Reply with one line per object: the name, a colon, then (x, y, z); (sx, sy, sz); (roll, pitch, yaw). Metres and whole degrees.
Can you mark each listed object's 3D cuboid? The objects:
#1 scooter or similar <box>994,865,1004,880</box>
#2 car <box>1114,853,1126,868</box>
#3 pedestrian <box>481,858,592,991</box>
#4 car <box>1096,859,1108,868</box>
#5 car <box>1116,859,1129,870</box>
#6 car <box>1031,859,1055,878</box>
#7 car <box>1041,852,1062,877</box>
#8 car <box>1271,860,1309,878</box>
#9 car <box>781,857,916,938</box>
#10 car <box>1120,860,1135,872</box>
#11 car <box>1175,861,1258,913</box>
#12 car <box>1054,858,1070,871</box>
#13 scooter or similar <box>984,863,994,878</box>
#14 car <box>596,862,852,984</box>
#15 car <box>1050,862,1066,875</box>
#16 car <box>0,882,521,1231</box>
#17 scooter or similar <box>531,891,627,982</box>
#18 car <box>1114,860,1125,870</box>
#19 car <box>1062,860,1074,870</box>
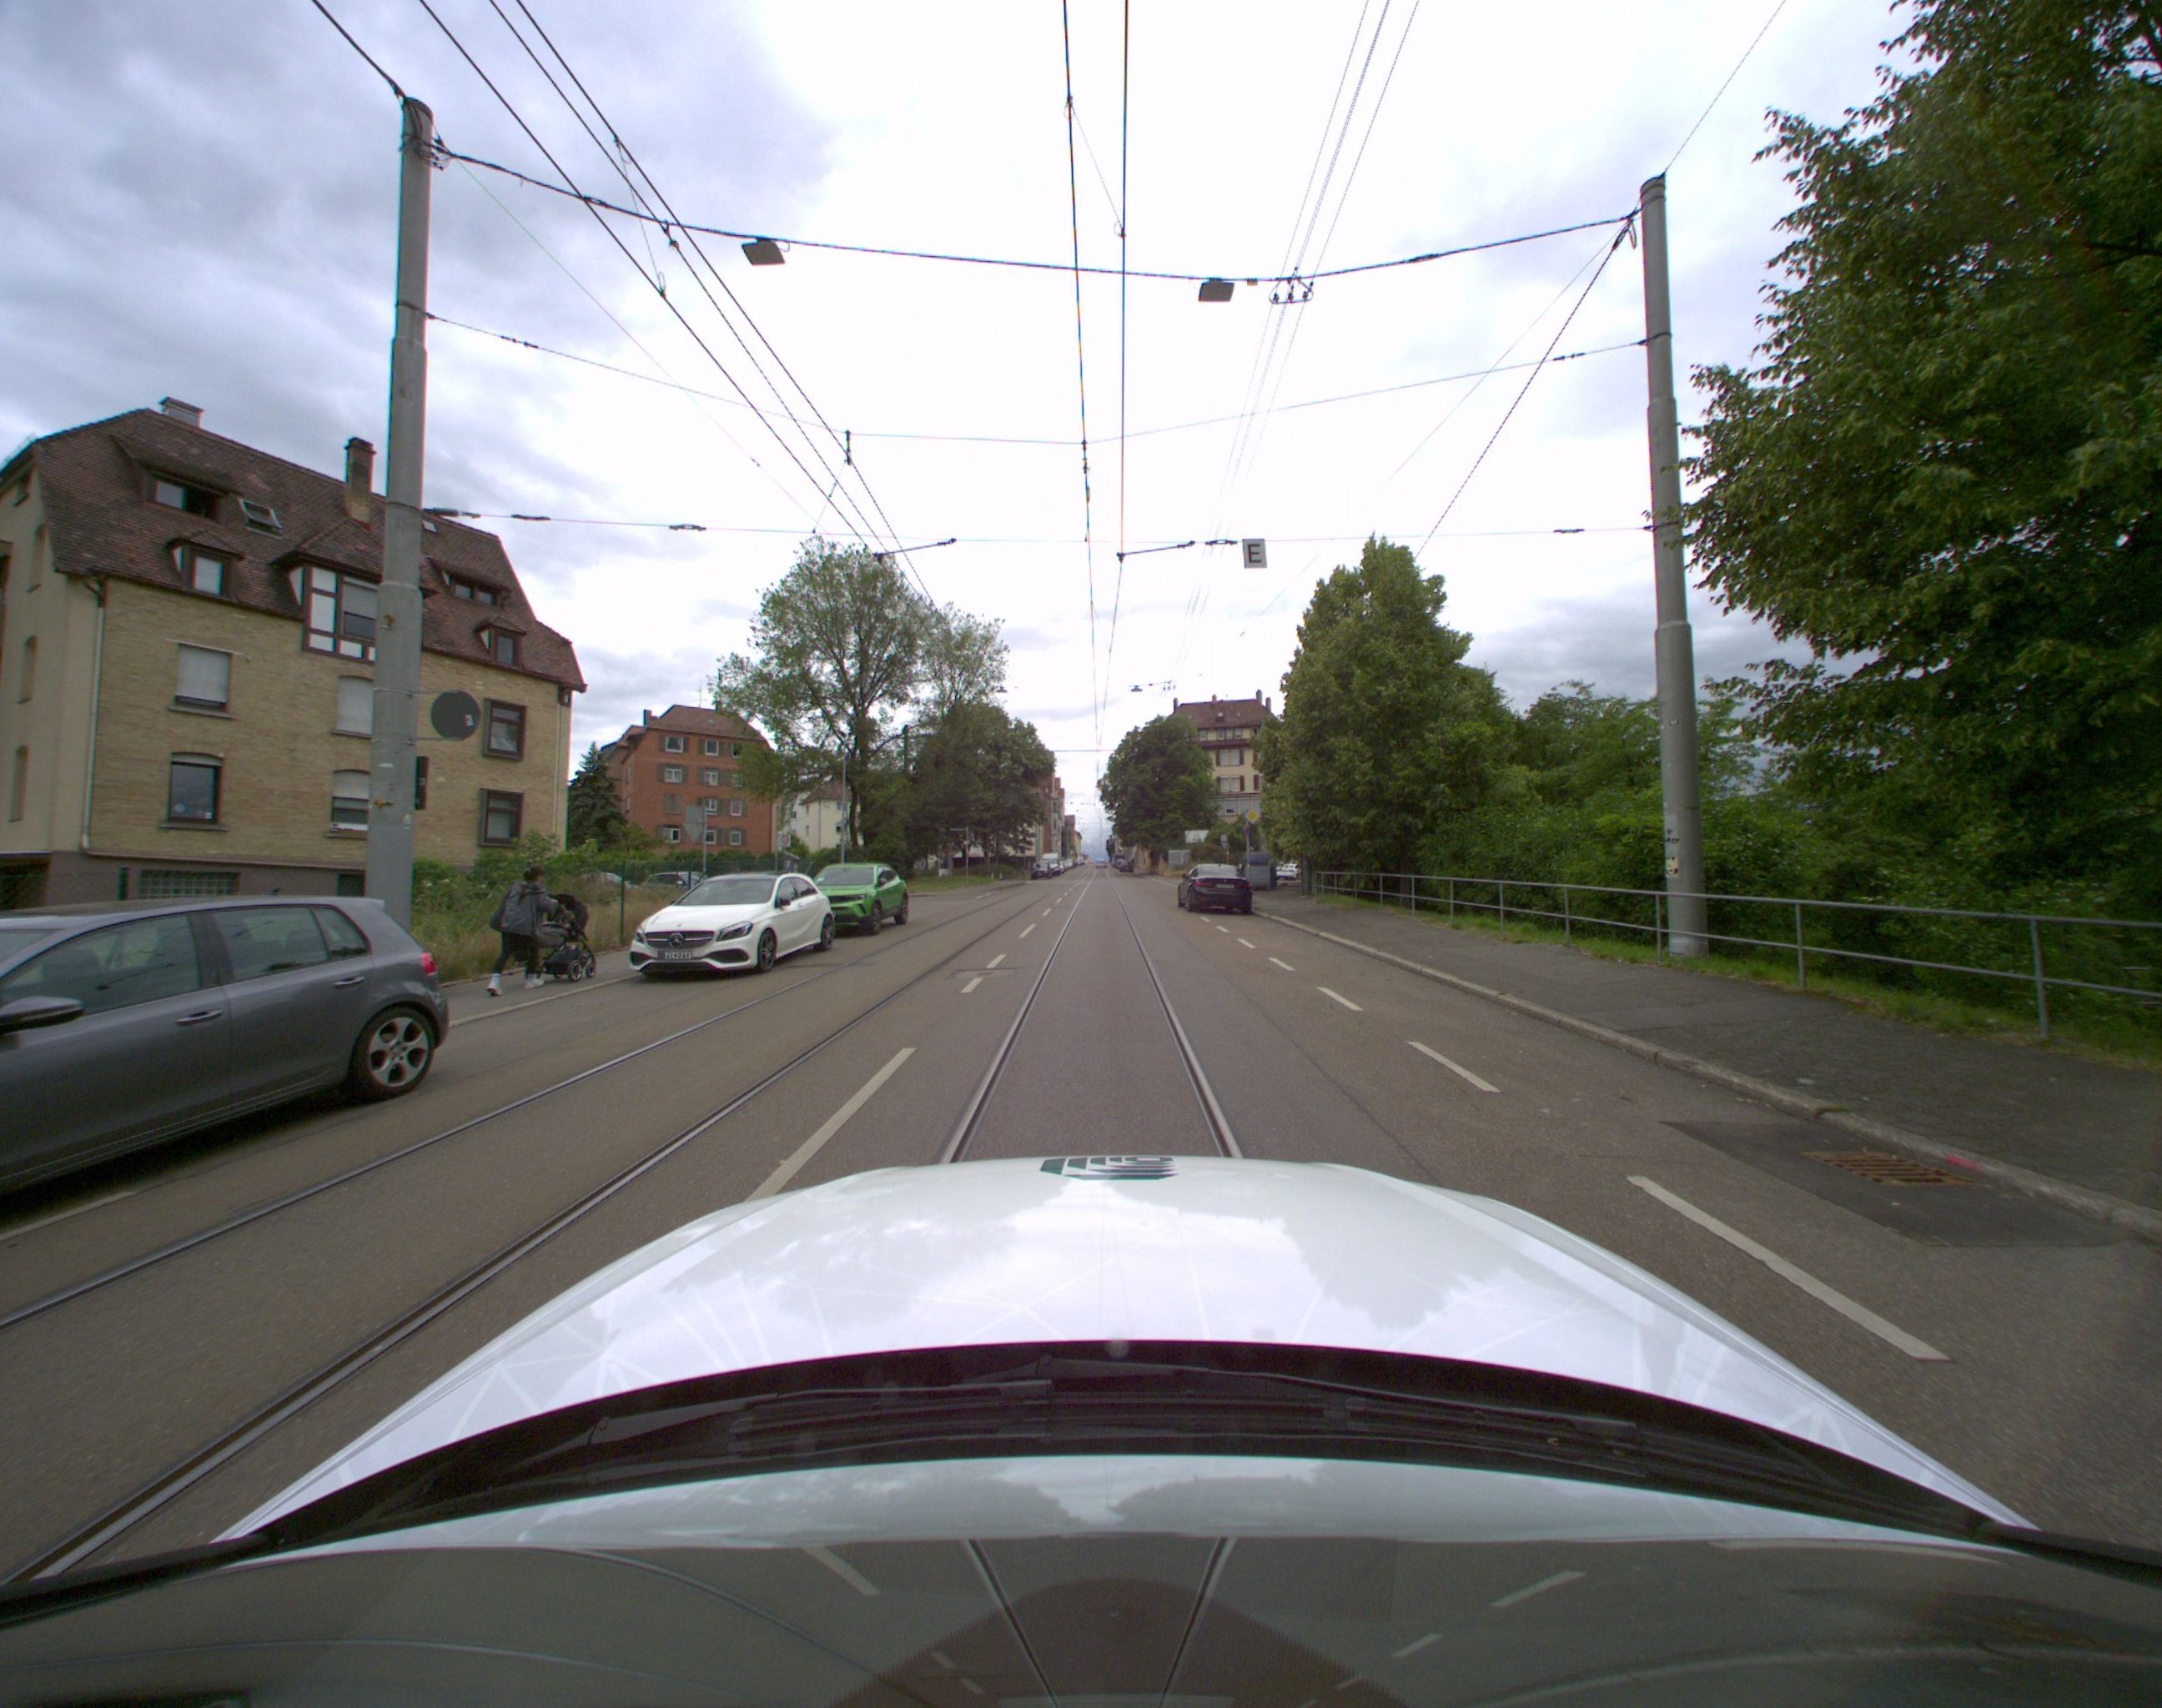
scooter or similar: (-7.455, 1.656, 74.330); (0.688, 1.339, 1.640); (0, -1, 2)
car: (7.023, 1.254, 146.784); (1.986, 2.574, 4.706); (-1, -1, 2)
pedestrian: (-7.009, 0.879, 10.528); (0.803, 1.629, 0.915); (0, -2, -2)
car: (3.710, 1.628, 142.496); (1.986, 1.499, 4.312); (0, -1, 1)
car: (6.514, 1.640, 129.288); (1.986, 1.717, 4.001); (-1, -1, 2)
car: (-3.681, 1.438, 79.201); (1.985, 1.808, 4.002); (0, -1, 3)
car: (-3.385, 1.253, 93.699); (2.224, 2.764, 5.797); (0, -1, -1)
car: (17.777, 1.273, 69.036); (1.974, 1.479, 4.491); (-1, -1, 30)
car: (-5.105, 0.895, 18.483); (1.717, 1.580, 4.182); (-2, -1, 2)
car: (6.096, 1.622, 107.829); (1.985, 1.530, 4.314); (0, -1, 2)
car: (4.062, 0.960, 25.169); (1.821, 1.430, 4.848); (1, -1, 1)
car: (-2.797, 1.556, 120.293); (1.985, 1.812, 4.315); (0, -1, 3)
scooter or similar: (-8.401, 1.526, 74.461); (0.688, 1.339, 1.640); (0, -1, 2)
car: (-5.309, 0.926, 12.945); (1.878, 1.526, 4.664); (-2, -1, 1)
car: (-2.956, 1.816, 104.002); (1.988, 1.600, 4.310); (0, -1, -1)
car: (-5.696, 0.976, 4.561); (1.889, 1.433, 4.512); (-2, 0, 1)
scooter or similar: (-6.995, 1.128, 11.390); (0.803, 1.196, 0.838); (0, -1, -2)
car: (6.670, 1.871, 141.270); (1.986, 1.651, 4.001); (-1, -1, 2)
car: (-2.189, 1.894, 137.525); (1.917, 1.601, 4.001); (0, -1, 2)
